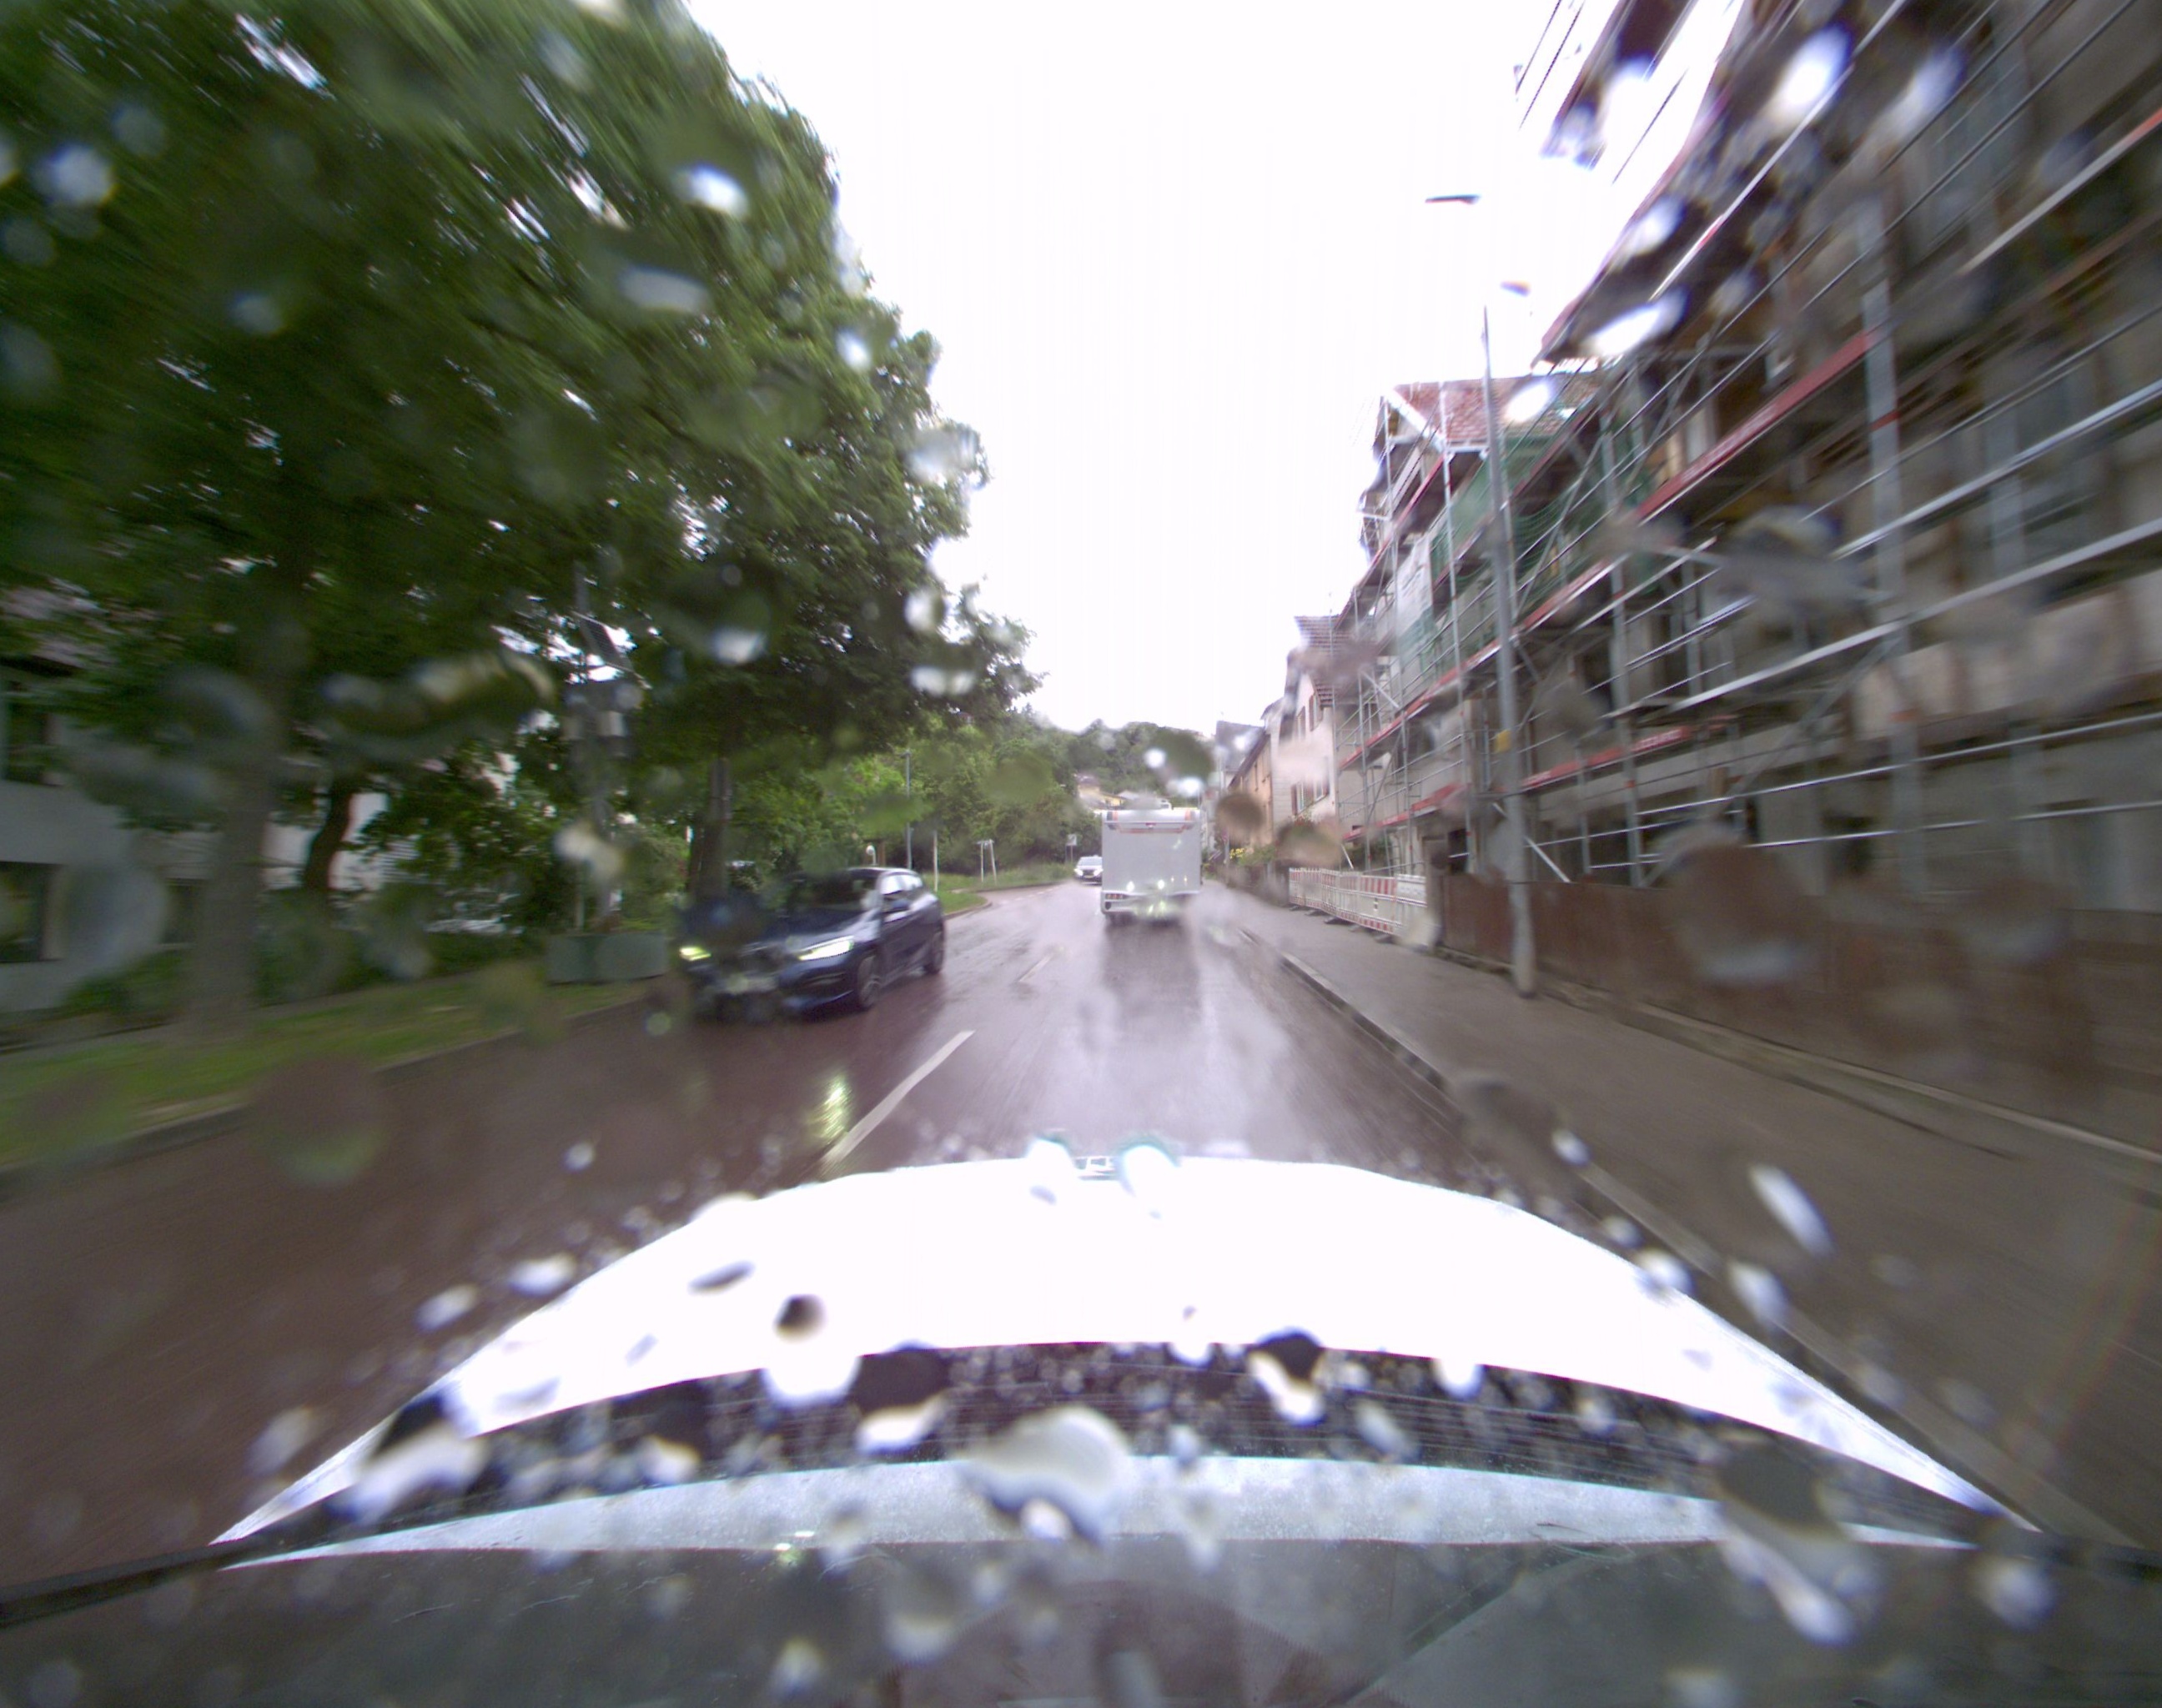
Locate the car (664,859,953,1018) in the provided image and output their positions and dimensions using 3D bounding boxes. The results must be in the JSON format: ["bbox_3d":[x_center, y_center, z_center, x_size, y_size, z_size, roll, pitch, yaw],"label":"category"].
[{"bbox_3d":[-2.823,0.782,9.491,1.757,1.441,4.068,0,0,4],"label":"car"}]

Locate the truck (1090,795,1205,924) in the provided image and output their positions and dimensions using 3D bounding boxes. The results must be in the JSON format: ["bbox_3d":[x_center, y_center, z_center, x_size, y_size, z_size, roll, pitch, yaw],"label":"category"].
[{"bbox_3d":[1.680,0.142,20.939,2.504,2.817,6.208,0,0,4],"label":"truck"}]

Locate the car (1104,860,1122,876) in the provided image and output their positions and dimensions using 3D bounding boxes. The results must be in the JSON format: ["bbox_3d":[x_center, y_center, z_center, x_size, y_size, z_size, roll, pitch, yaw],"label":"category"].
[{"bbox_3d":[3.126,1.324,78.847,1.553,1.454,4.088,0,0,4],"label":"car"}]

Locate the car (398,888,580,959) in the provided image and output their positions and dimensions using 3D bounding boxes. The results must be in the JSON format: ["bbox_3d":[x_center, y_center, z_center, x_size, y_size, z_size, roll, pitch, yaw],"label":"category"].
[{"bbox_3d":[-13.229,1.495,18.476,1.993,1.329,3.435,0,0,-10],"label":"car"}]

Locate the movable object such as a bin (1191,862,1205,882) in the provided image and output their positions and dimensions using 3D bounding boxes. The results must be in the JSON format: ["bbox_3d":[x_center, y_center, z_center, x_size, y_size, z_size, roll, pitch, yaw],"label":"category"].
[{"bbox_3d":[6.181,0.966,43.156,0.716,1.052,0.802,0,-1,8],"label":"movable object such as a bin"}]

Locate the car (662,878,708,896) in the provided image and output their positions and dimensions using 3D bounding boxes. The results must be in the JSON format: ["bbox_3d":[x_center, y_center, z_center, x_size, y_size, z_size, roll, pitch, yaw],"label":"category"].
[{"bbox_3d":[-30.290,2.510,62.205,3.923,1.254,1.732,-1,-1,40],"label":"car"}]

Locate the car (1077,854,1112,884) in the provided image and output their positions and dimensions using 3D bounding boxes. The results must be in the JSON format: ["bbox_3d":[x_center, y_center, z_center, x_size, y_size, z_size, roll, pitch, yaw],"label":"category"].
[{"bbox_3d":[0.844,0.871,47.836,1.742,1.689,4.381,0,0,5],"label":"car"}]
